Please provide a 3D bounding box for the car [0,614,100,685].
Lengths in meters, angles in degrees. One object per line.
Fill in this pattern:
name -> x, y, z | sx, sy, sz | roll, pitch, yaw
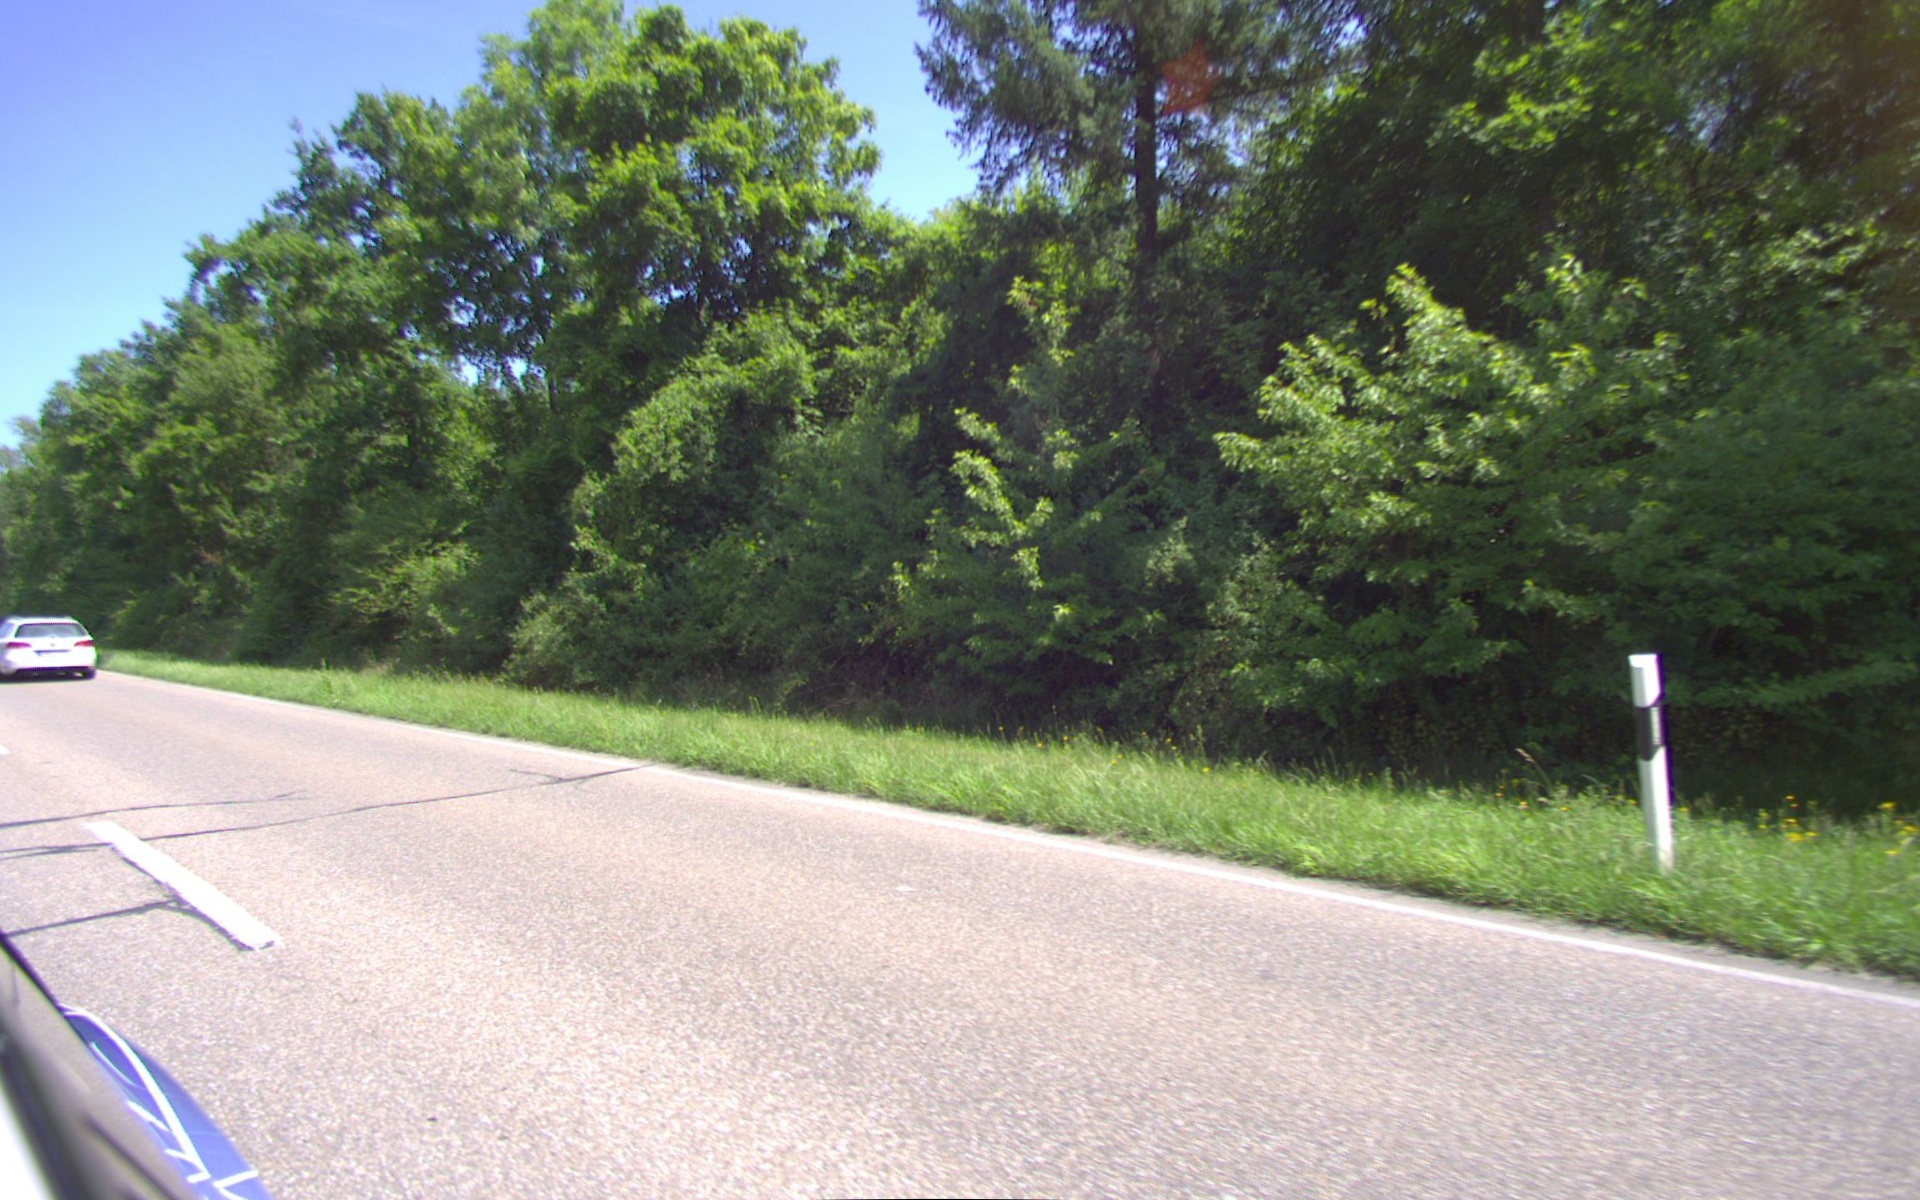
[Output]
car -> -22.277, 1.133, 24.279 | 4.655, 1.548, 1.820 | -1, -1, 41
